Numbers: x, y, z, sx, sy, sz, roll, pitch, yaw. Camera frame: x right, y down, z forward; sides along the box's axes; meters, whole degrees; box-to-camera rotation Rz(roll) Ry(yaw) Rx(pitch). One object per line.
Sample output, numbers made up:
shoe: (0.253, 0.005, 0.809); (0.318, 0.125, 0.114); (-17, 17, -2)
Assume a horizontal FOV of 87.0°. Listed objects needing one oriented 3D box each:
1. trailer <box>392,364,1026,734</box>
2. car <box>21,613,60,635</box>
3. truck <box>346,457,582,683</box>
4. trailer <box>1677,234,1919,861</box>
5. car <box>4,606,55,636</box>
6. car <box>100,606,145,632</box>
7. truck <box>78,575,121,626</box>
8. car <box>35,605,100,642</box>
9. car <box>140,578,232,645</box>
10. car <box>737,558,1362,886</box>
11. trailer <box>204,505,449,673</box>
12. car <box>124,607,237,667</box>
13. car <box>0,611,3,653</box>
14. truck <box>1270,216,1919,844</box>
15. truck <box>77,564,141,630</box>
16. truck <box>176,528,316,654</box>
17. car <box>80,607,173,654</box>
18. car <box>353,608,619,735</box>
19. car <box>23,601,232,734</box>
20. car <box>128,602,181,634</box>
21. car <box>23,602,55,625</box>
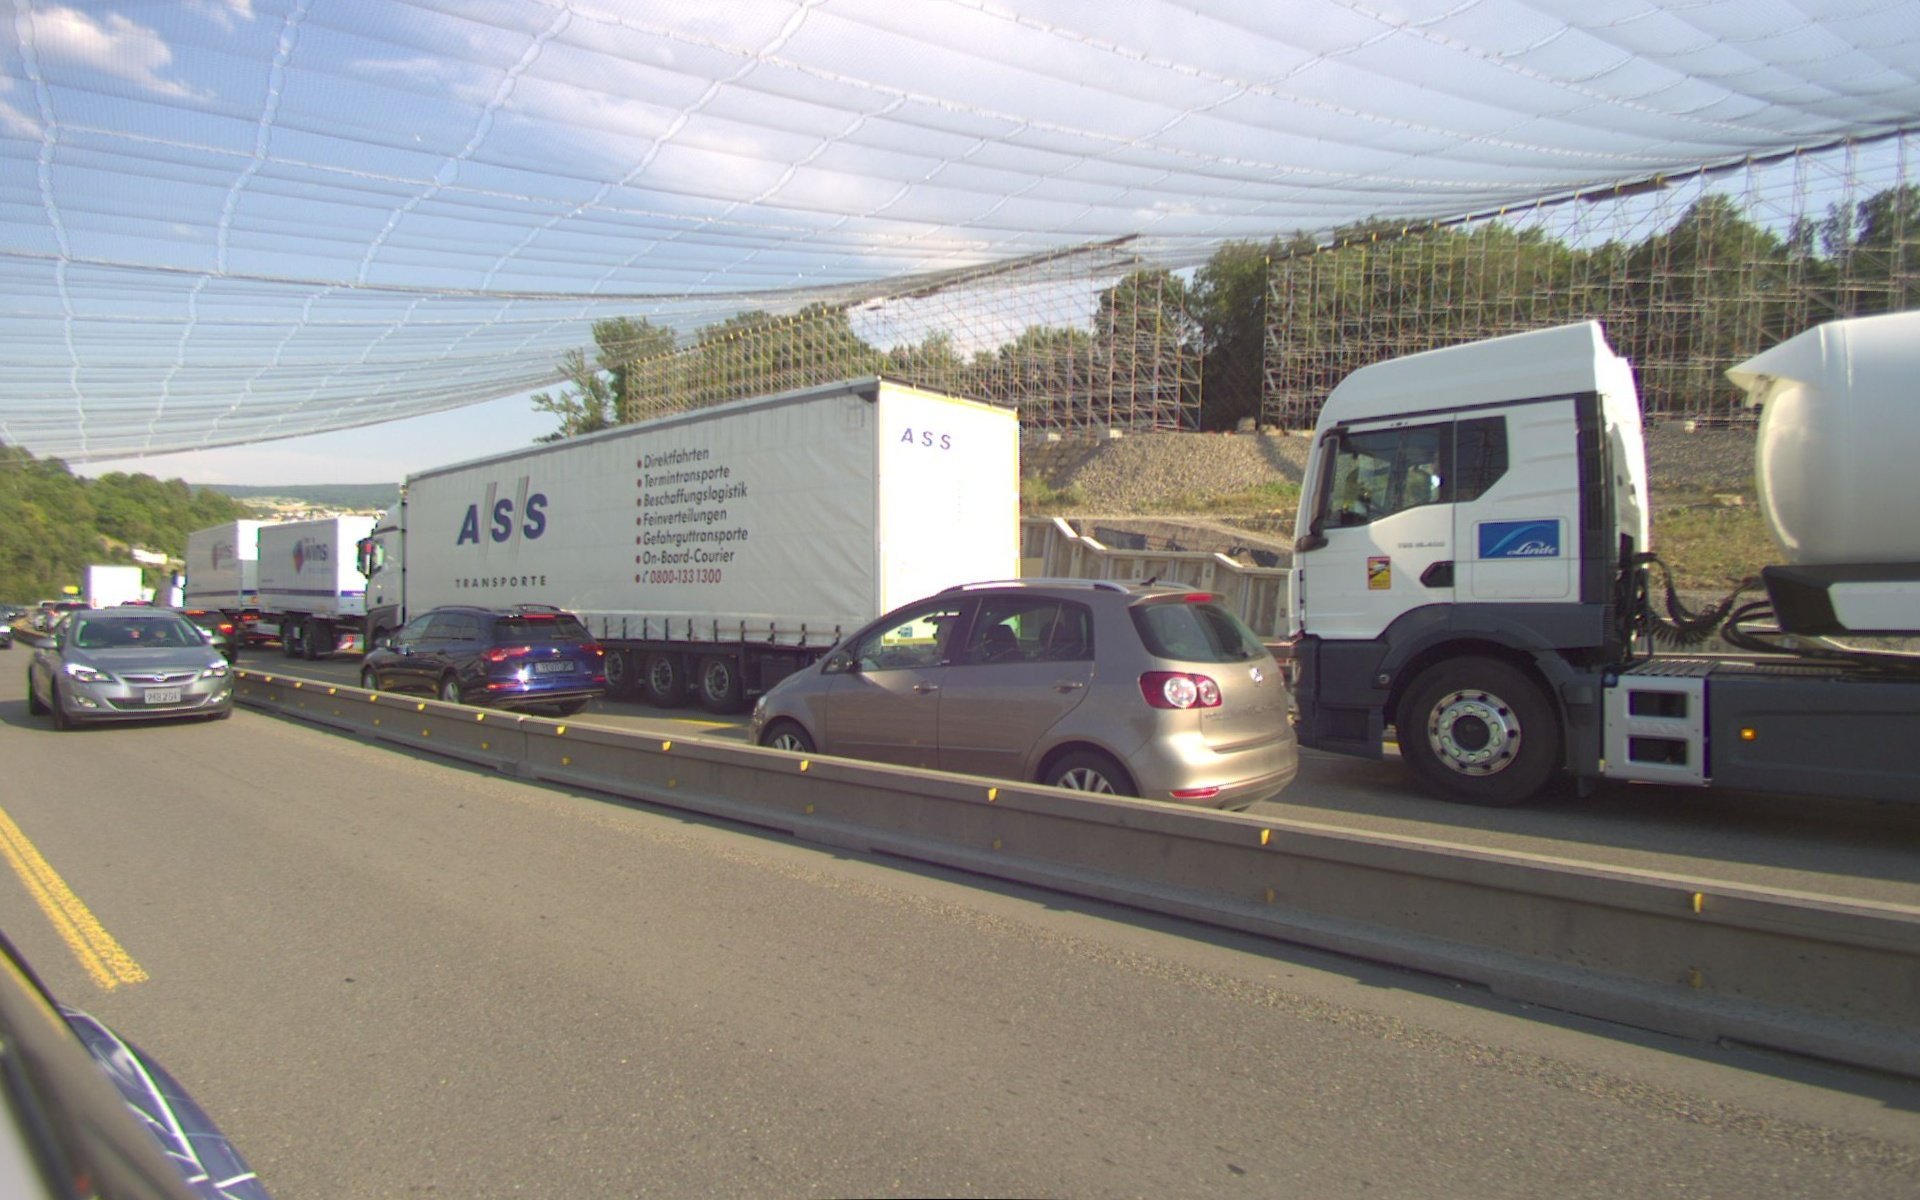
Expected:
trailer: (-5.262, -0.520, 16.477); (14.092, 3.993, 2.402); (0, 0, 41)
car: (-63.085, 1.605, 69.412); (1.787, 1.430, 4.521); (0, 0, -45)
truck: (-10.432, -0.539, 21.055); (5.615, 4.076, 2.447); (0, 0, 41)
trailer: (9.652, -0.312, 3.069); (12.046, 3.387, 2.283); (0, 0, 41)
car: (-51.611, 1.139, 56.106); (4.366, 1.580, 1.788); (0, 0, 43)
car: (-52.428, 1.164, 63.330); (1.771, 1.552, 4.913); (0, 0, -44)
truck: (-83.595, 0.100, 98.245); (2.950, 4.593, 17.432); (0, 0, -41)
car: (-40.420, 1.047, 45.795); (4.366, 1.580, 1.788); (0, 0, 43)
car: (-33.953, 0.478, 44.270); (7.085, 2.733, 2.216); (0, 0, 44)
car: (0.432, 0.599, 6.852); (3.938, 1.599, 1.733); (0, 0, 39)
trailer: (-19.112, -0.246, 29.837); (13.331, 4.046, 2.641); (0, 0, 42)
car: (-19.836, 0.888, 25.700); (3.899, 1.386, 1.590); (0, 0, 42)
car: (-33.735, 1.081, 34.300); (3.824, 1.394, 1.740); (0, 0, 45)
truck: (5.312, -0.378, 6.945); (5.614, 3.395, 2.389); (0, 0, 41)
truck: (-60.120, -0.199, 71.339); (2.689, 4.259, 14.182); (0, 0, -43)
truck: (-24.836, -0.264, 35.044); (7.206, 3.939, 2.602); (0, 0, 44)
car: (-28.188, 0.966, 34.166); (4.662, 1.461, 1.758); (0, 0, 42)
car: (-6.434, 0.827, 13.519); (4.244, 1.408, 1.774); (0, 0, 43)
car: (-11.230, 0.773, 13.531); (4.355, 1.484, 1.736); (0, 0, 45)
car: (-44.900, 0.973, 56.364); (1.803, 1.740, 4.940); (0, 0, -44)
car: (-76.382, 1.096, 83.894); (1.787, 1.883, 5.285); (0, 0, -44)
